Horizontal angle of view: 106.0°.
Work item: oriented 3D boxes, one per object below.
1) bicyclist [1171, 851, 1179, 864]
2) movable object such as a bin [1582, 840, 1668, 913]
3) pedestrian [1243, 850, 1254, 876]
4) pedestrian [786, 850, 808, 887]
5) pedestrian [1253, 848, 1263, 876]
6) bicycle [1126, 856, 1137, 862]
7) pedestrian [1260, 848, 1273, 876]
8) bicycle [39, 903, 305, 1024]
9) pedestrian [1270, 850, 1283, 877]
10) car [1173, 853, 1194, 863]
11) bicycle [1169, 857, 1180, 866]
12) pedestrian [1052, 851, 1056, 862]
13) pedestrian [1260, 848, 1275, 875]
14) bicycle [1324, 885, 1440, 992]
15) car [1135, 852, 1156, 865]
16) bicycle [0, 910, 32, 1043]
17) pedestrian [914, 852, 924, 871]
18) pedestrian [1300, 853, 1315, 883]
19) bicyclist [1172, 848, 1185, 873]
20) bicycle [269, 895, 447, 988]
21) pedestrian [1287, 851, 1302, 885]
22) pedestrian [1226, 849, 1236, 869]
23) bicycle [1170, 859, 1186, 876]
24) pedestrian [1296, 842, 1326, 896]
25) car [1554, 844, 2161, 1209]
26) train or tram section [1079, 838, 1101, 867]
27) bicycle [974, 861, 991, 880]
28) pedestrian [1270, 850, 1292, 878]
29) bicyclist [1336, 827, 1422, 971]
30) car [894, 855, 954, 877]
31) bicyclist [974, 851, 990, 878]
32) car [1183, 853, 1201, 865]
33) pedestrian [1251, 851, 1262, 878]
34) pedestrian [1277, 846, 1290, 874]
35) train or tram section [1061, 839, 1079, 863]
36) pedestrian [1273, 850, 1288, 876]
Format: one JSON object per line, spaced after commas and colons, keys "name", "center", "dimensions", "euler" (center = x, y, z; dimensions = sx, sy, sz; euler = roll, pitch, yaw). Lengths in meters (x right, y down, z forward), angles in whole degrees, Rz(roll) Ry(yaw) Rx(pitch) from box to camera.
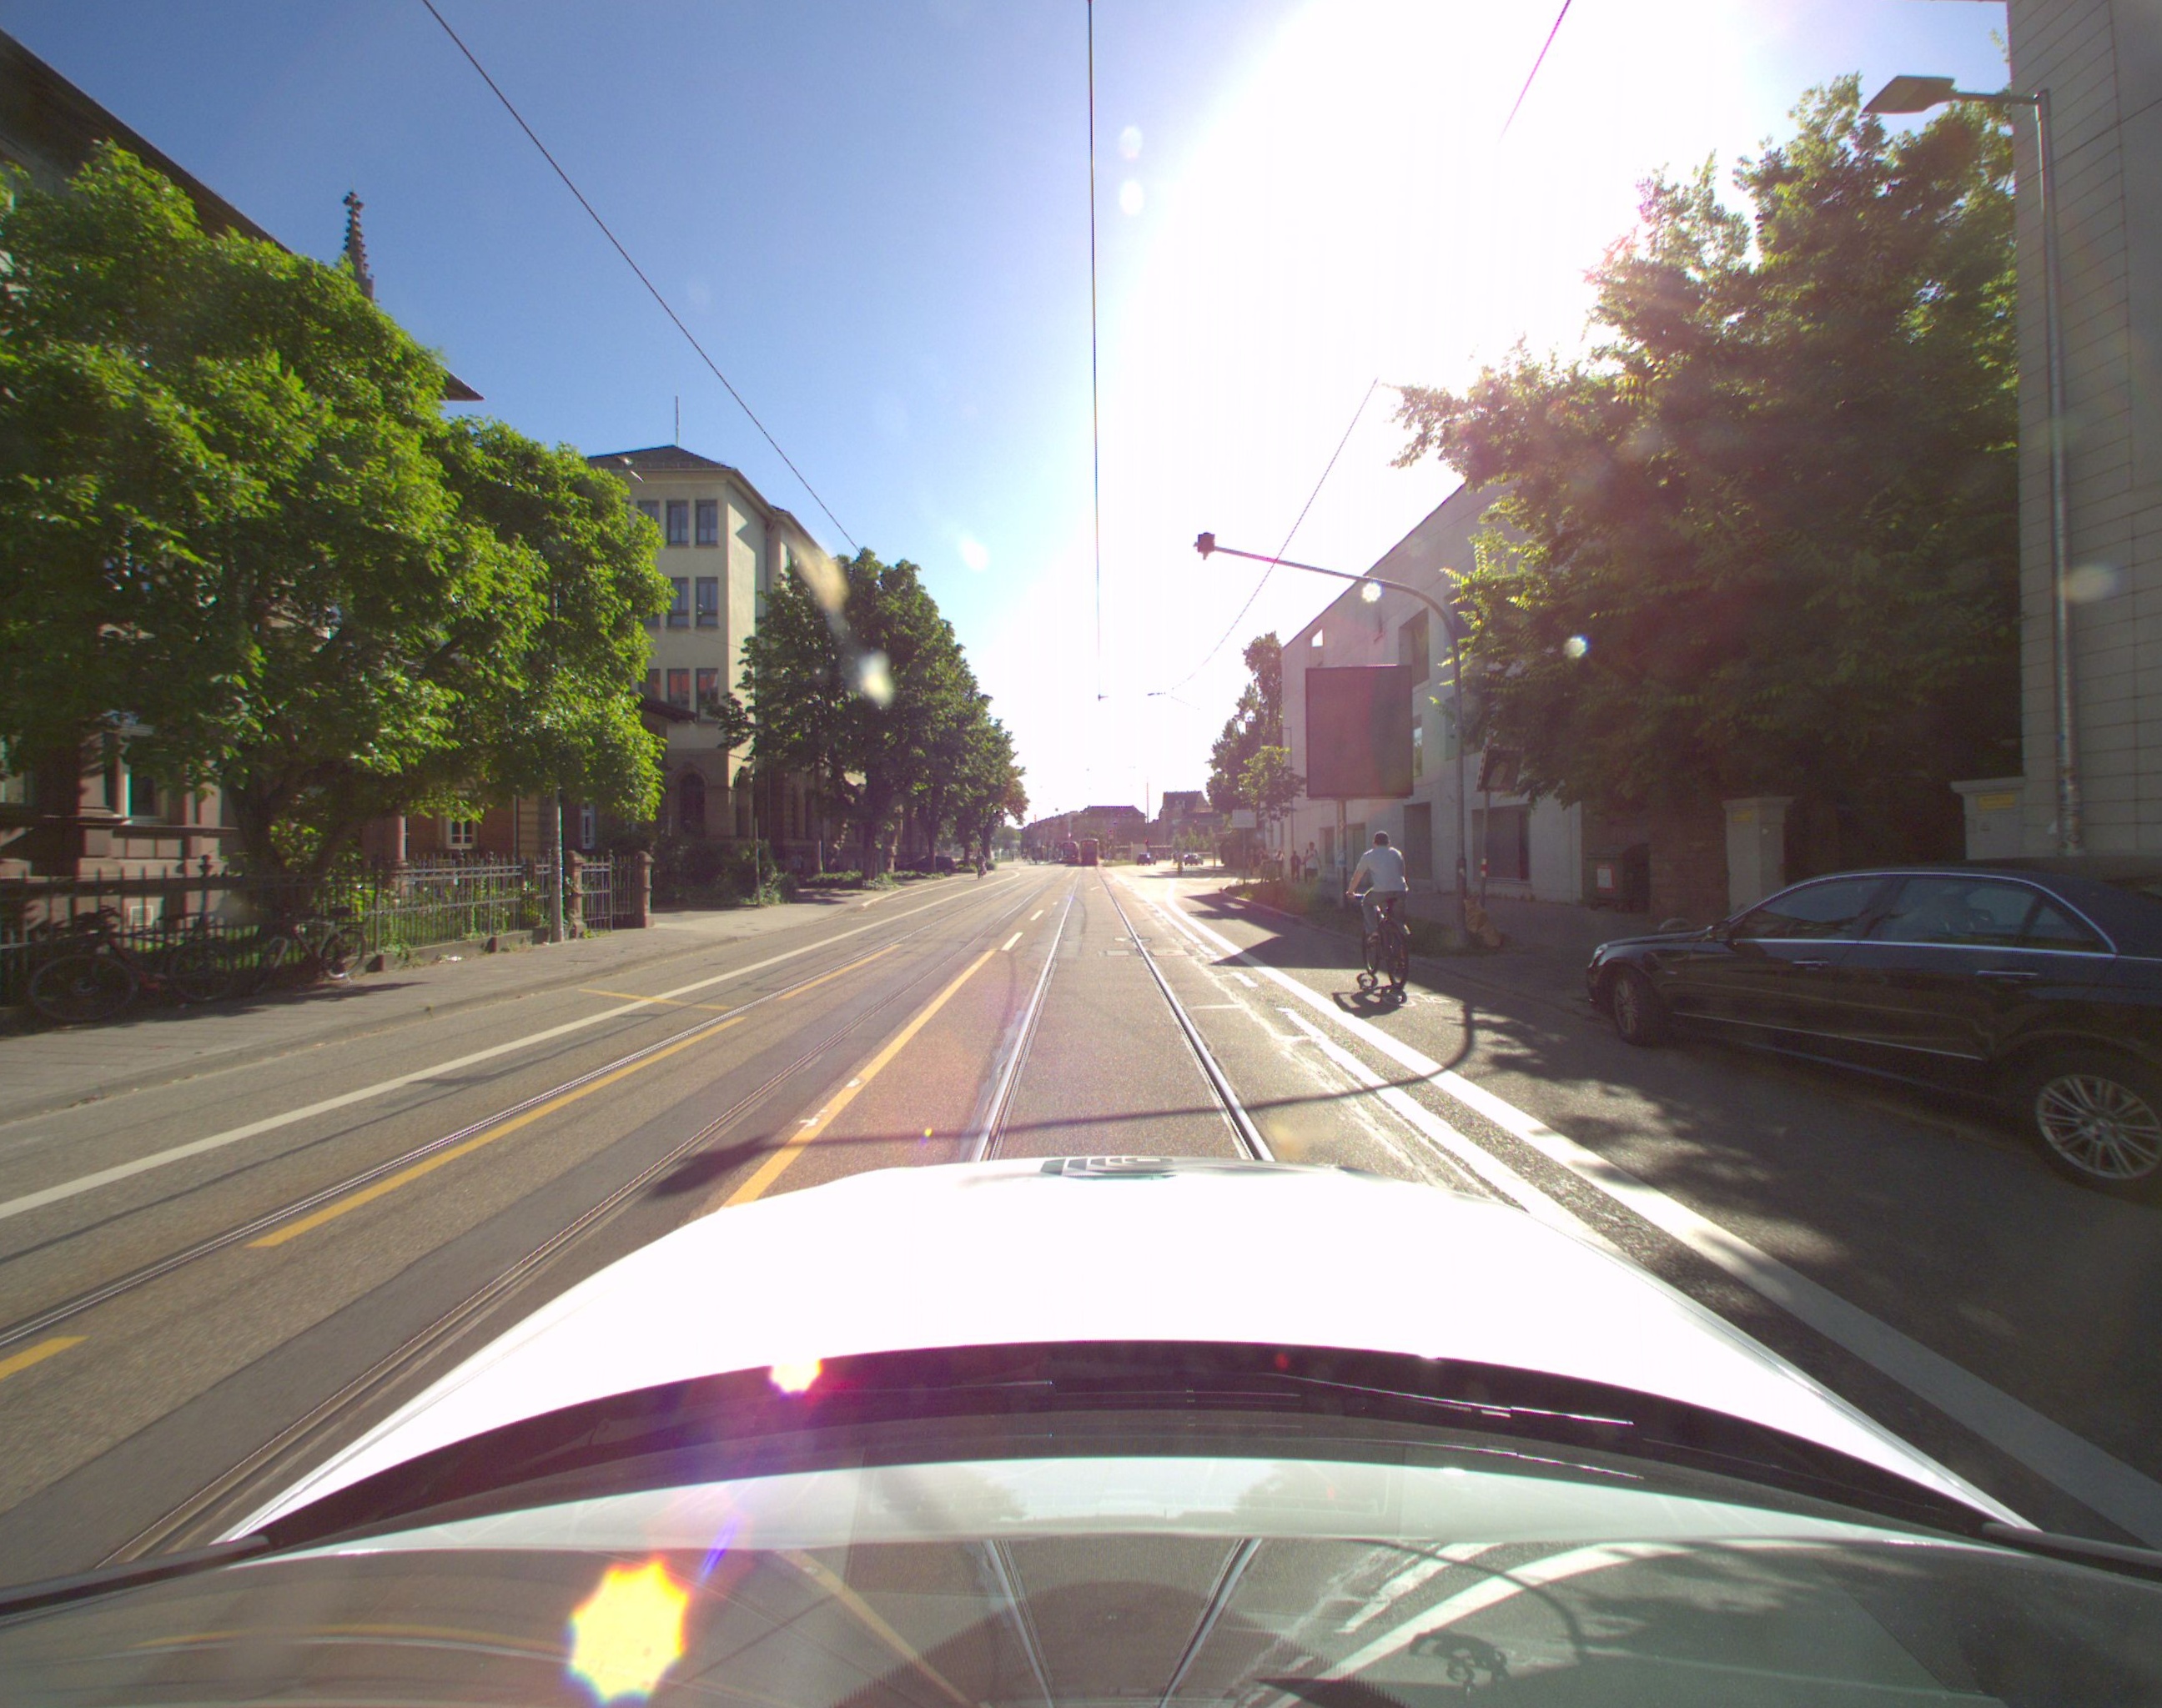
{"name": "bicyclist", "center": [12.436, 0.502, 107.955], "dimensions": [0.698, 1.700, 0.993], "euler": [2, 1, 25]}
{"name": "movable object such as a bin", "center": [11.496, 0.460, 17.252], "dimensions": [0.930, 1.463, 1.356], "euler": [-1, 0, 2]}
{"name": "pedestrian", "center": [11.600, 0.629, 56.444], "dimensions": [0.603, 1.746, 0.719], "euler": [-4, 0, 8]}
{"name": "pedestrian", "center": [-14.134, 0.707, 40.507], "dimensions": [0.726, 1.797, 0.780], "euler": [2, -1, 2]}
{"name": "pedestrian", "center": [12.200, 0.520, 56.249], "dimensions": [0.515, 1.902, 0.613], "euler": [-4, -1, 8]}
{"name": "bicycle", "center": [9.112, 0.854, 148.046], "dimensions": [1.929, 1.103, 0.598], "euler": [-1, 0, -2]}
{"name": "pedestrian", "center": [12.058, 0.509, 53.015], "dimensions": [0.642, 1.763, 0.960], "euler": [-5, -1, 15]}
{"name": "bicycle", "center": [-9.764, 1.119, 8.882], "dimensions": [0.586, 1.045, 1.909], "euler": [0, 0, 9]}
{"name": "pedestrian", "center": [13.285, 0.665, 55.335], "dimensions": [0.605, 1.774, 0.656], "euler": [-5, -1, 16]}
{"name": "car", "center": [16.040, 0.631, 127.708], "dimensions": [1.685, 1.643, 3.736], "euler": [1, 0, 35]}
{"name": "bicycle", "center": [12.432, 0.991, 107.979], "dimensions": [0.698, 1.055, 2.327], "euler": [2, 1, 25]}
{"name": "pedestrian", "center": [-4.796, 0.413, 143.368], "dimensions": [0.624, 1.827, 0.662], "euler": [-1, 0, -1]}
{"name": "pedestrian", "center": [12.815, 0.535, 55.923], "dimensions": [0.523, 1.774, 0.740], "euler": [-6, -1, 41]}
{"name": "bicycle", "center": [3.656, 0.981, 10.098], "dimensions": [0.735, 1.094, 2.112], "euler": [1, 0, 2]}
{"name": "car", "center": [8.412, 0.522, 105.388], "dimensions": [1.774, 1.604, 3.731], "euler": [1, 0, 19]}
{"name": "bicycle", "center": [-9.874, 1.075, 6.392], "dimensions": [0.642, 1.143, 1.909], "euler": [1, 0, 9]}
{"name": "pedestrian", "center": [-14.162, 0.677, 71.201], "dimensions": [0.698, 1.635, 0.759], "euler": [2, 0, 0]}
{"name": "pedestrian", "center": [10.884, 0.680, 39.088], "dimensions": [0.515, 1.404, 0.765], "euler": [-1, 0, 3]}
{"name": "bicyclist", "center": [6.899, 0.452, 57.652], "dimensions": [0.699, 1.675, 1.107], "euler": [1, 0, 20]}
{"name": "bicycle", "center": [-9.651, 1.122, 10.991], "dimensions": [0.587, 1.045, 1.907], "euler": [1, 0, 4]}
{"name": "pedestrian", "center": [10.273, 0.652, 39.243], "dimensions": [0.515, 1.600, 0.765], "euler": [-1, 0, 3]}
{"name": "pedestrian", "center": [14.230, 0.478, 77.240], "dimensions": [0.635, 1.903, 1.135], "euler": [-3, 0, 2]}
{"name": "bicycle", "center": [6.888, 0.957, 57.657], "dimensions": [0.699, 1.104, 1.726], "euler": [1, 1, 20]}
{"name": "pedestrian", "center": [8.025, 0.521, 28.428], "dimensions": [0.682, 1.849, 0.955], "euler": [-2, 0, -1]}
{"name": "car", "center": [5.293, 0.709, 4.952], "dimensions": [1.817, 1.458, 4.813], "euler": [-3, 0, -3]}
{"name": "train or tram section", "center": [1.143, -0.263, 108.412], "dimensions": [2.733, 3.651, 13.783], "euler": [-1, 0, 0]}
{"name": "bicycle", "center": [-6.293, 1.025, 52.080], "dimensions": [0.683, 1.124, 1.934], "euler": [-3, 0, 5]}
{"name": "pedestrian", "center": [12.125, 0.620, 49.484], "dimensions": [0.999, 1.641, 0.849], "euler": [0, -2, -43]}
{"name": "bicyclist", "center": [3.662, 0.528, 10.084], "dimensions": [0.735, 1.686, 0.972], "euler": [1, 0, 2]}
{"name": "car", "center": [-11.562, 0.889, 59.935], "dimensions": [4.009, 1.550, 1.861], "euler": [0, 0, -27]}
{"name": "bicyclist", "center": [-6.309, 0.659, 52.070], "dimensions": [0.683, 1.644, 1.239], "euler": [-3, 0, 5]}
{"name": "car", "center": [14.503, 0.653, 106.581], "dimensions": [1.775, 1.511, 3.729], "euler": [1, 0, 16]}
{"name": "pedestrian", "center": [11.417, 0.660, 53.010], "dimensions": [0.491, 1.728, 0.819], "euler": [-5, -1, 14]}
{"name": "pedestrian", "center": [13.433, 0.412, 54.119], "dimensions": [0.653, 1.802, 0.733], "euler": [-4, 0, 8]}
{"name": "train or tram section", "center": [-1.683, -0.439, 131.946], "dimensions": [2.733, 3.651, 13.783], "euler": [-1, 0, 0]}
{"name": "pedestrian", "center": [12.950, 0.569, 52.885], "dimensions": [0.822, 1.604, 0.897], "euler": [-5, -1, 15]}
